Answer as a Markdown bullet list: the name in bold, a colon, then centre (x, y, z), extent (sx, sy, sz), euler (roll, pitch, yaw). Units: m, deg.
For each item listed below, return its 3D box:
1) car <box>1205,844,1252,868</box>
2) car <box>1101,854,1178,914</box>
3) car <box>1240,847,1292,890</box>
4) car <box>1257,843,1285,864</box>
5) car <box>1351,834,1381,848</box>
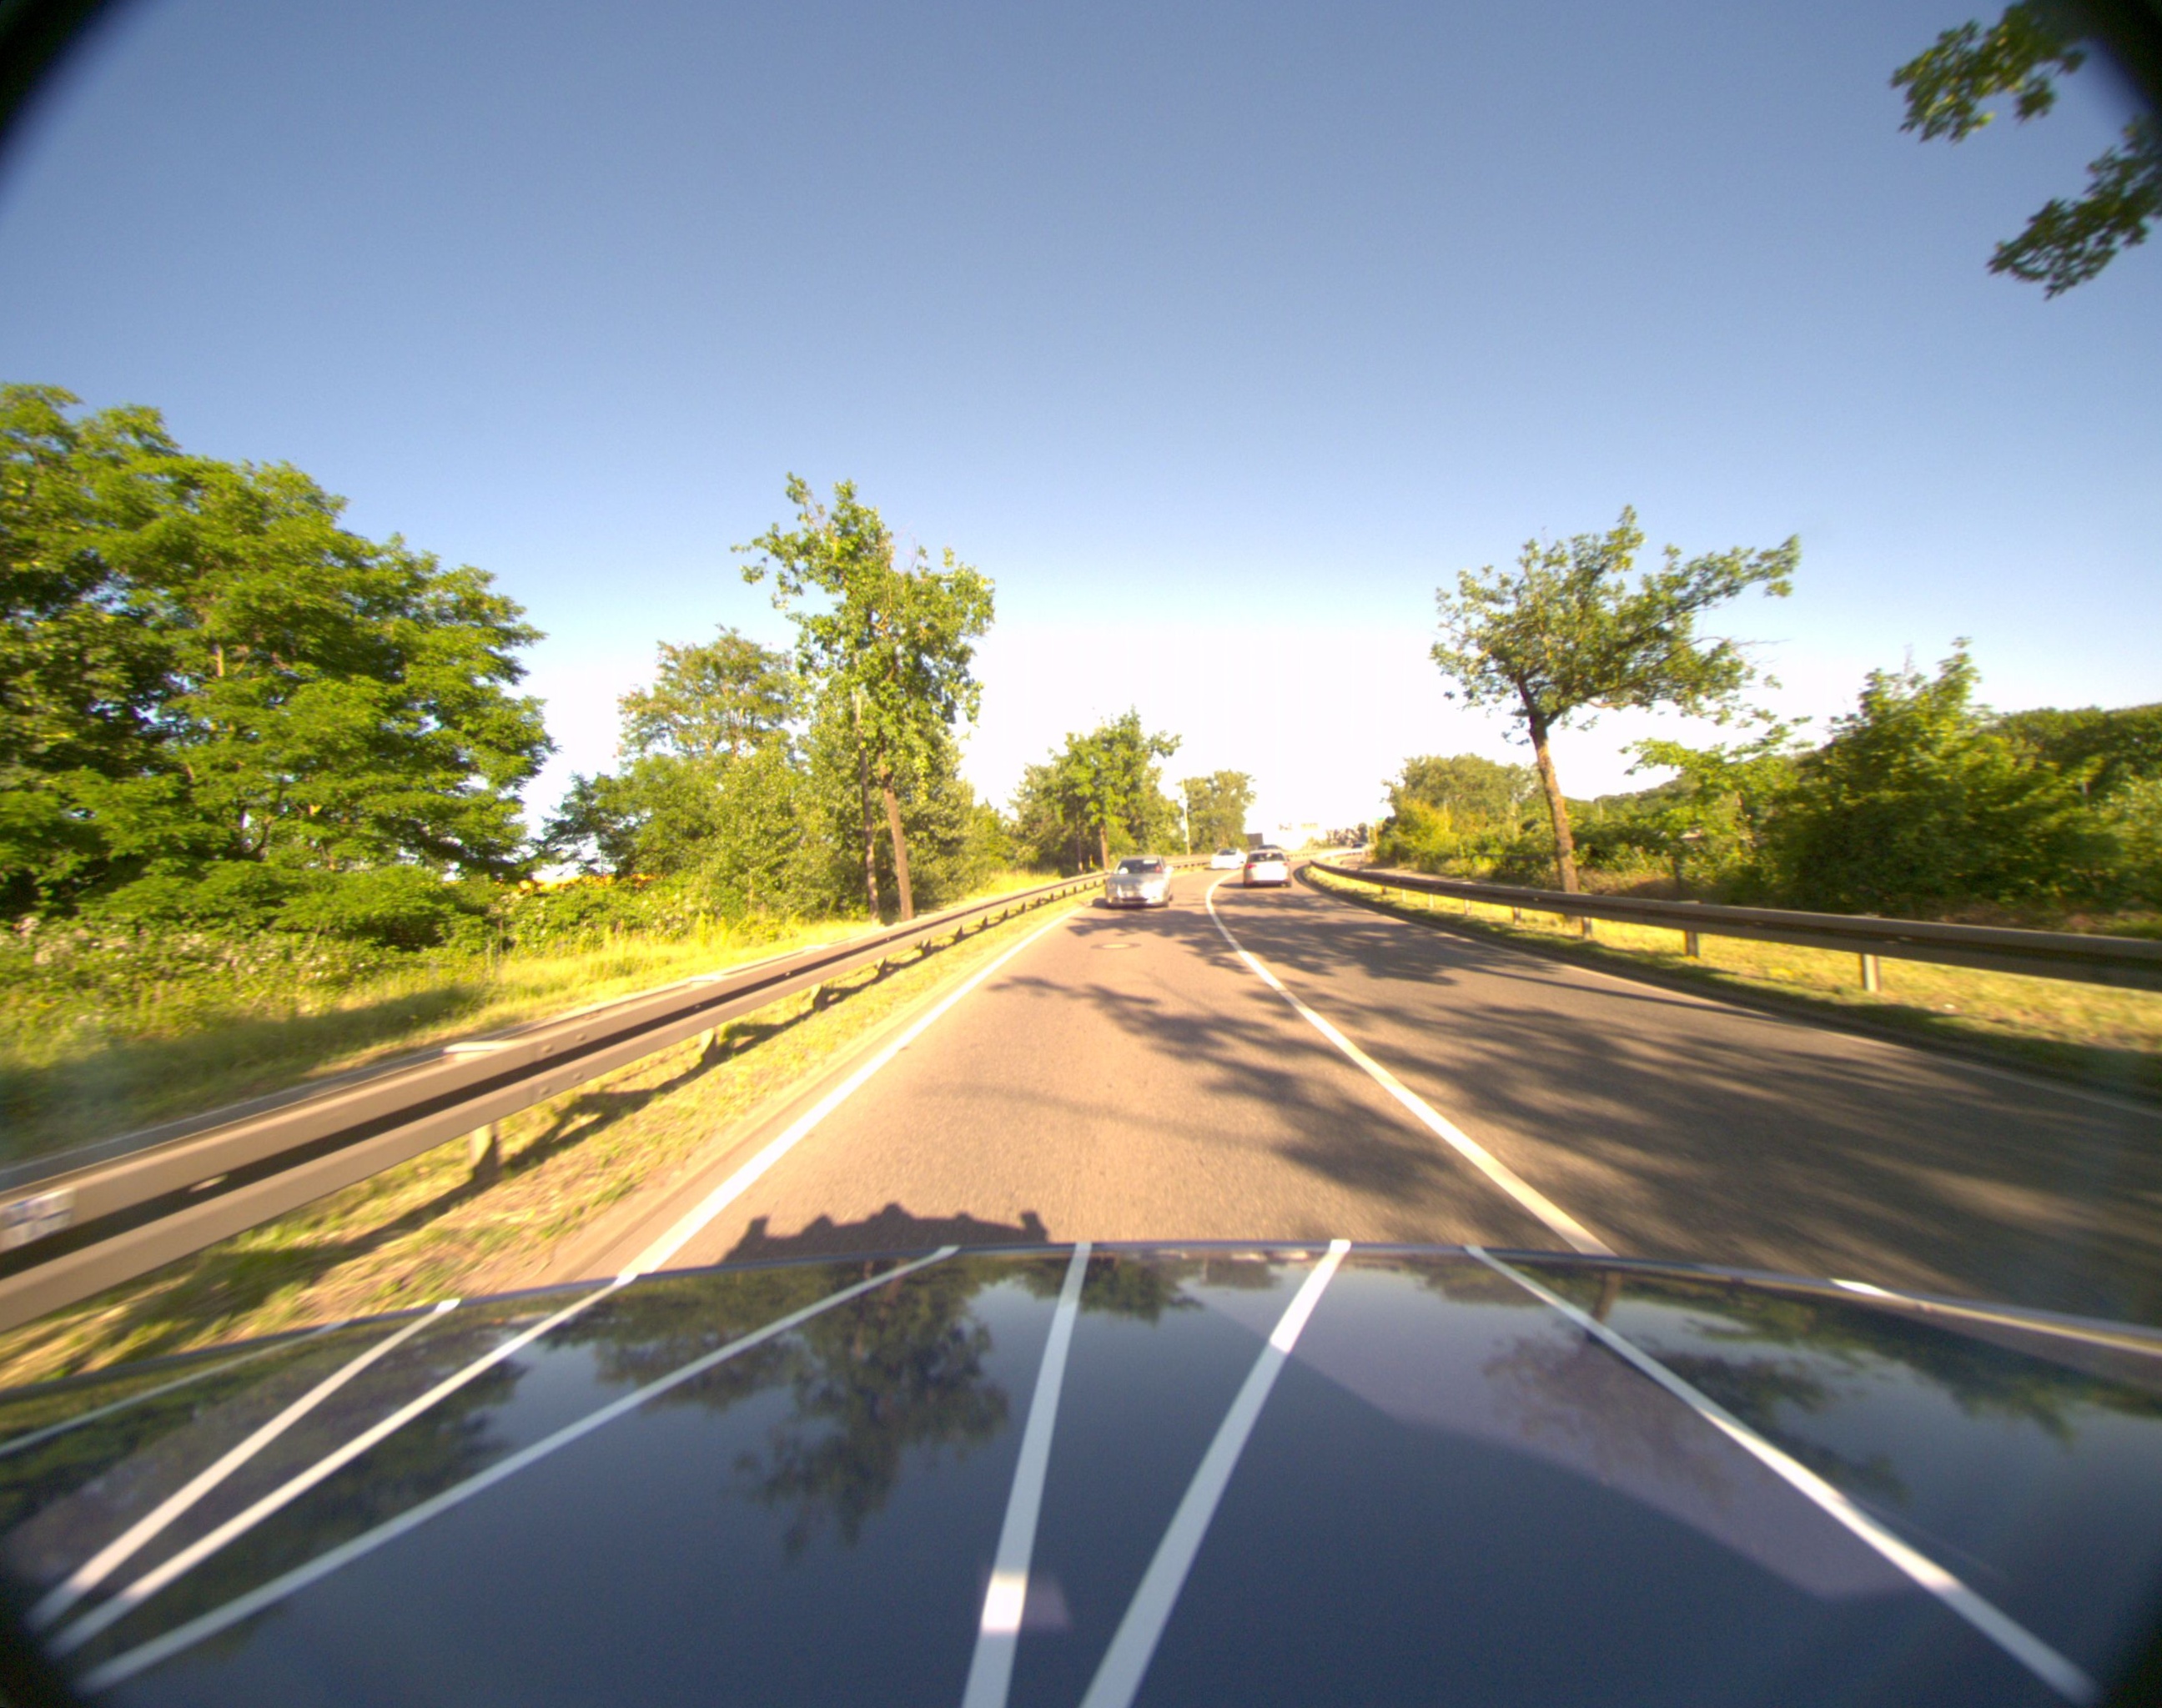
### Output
- **car**: centre (10.370, 0.111, 53.130), extent (2.146, 1.558, 4.205), euler (-2, 1, 26)
- **car**: centre (1.792, 0.804, 22.031), extent (1.681, 1.433, 3.861), euler (-3, 1, 12)
- **car**: centre (7.154, 0.505, 29.663), extent (1.698, 1.509, 3.984), euler (-2, 1, 10)
- **car**: centre (16.655, -0.065, 66.553), extent (1.680, 1.694, 3.611), euler (-3, 1, 25)
- **car**: centre (32.073, -1.486, 85.499), extent (1.679, 1.442, 4.007), euler (-2, 1, 43)
